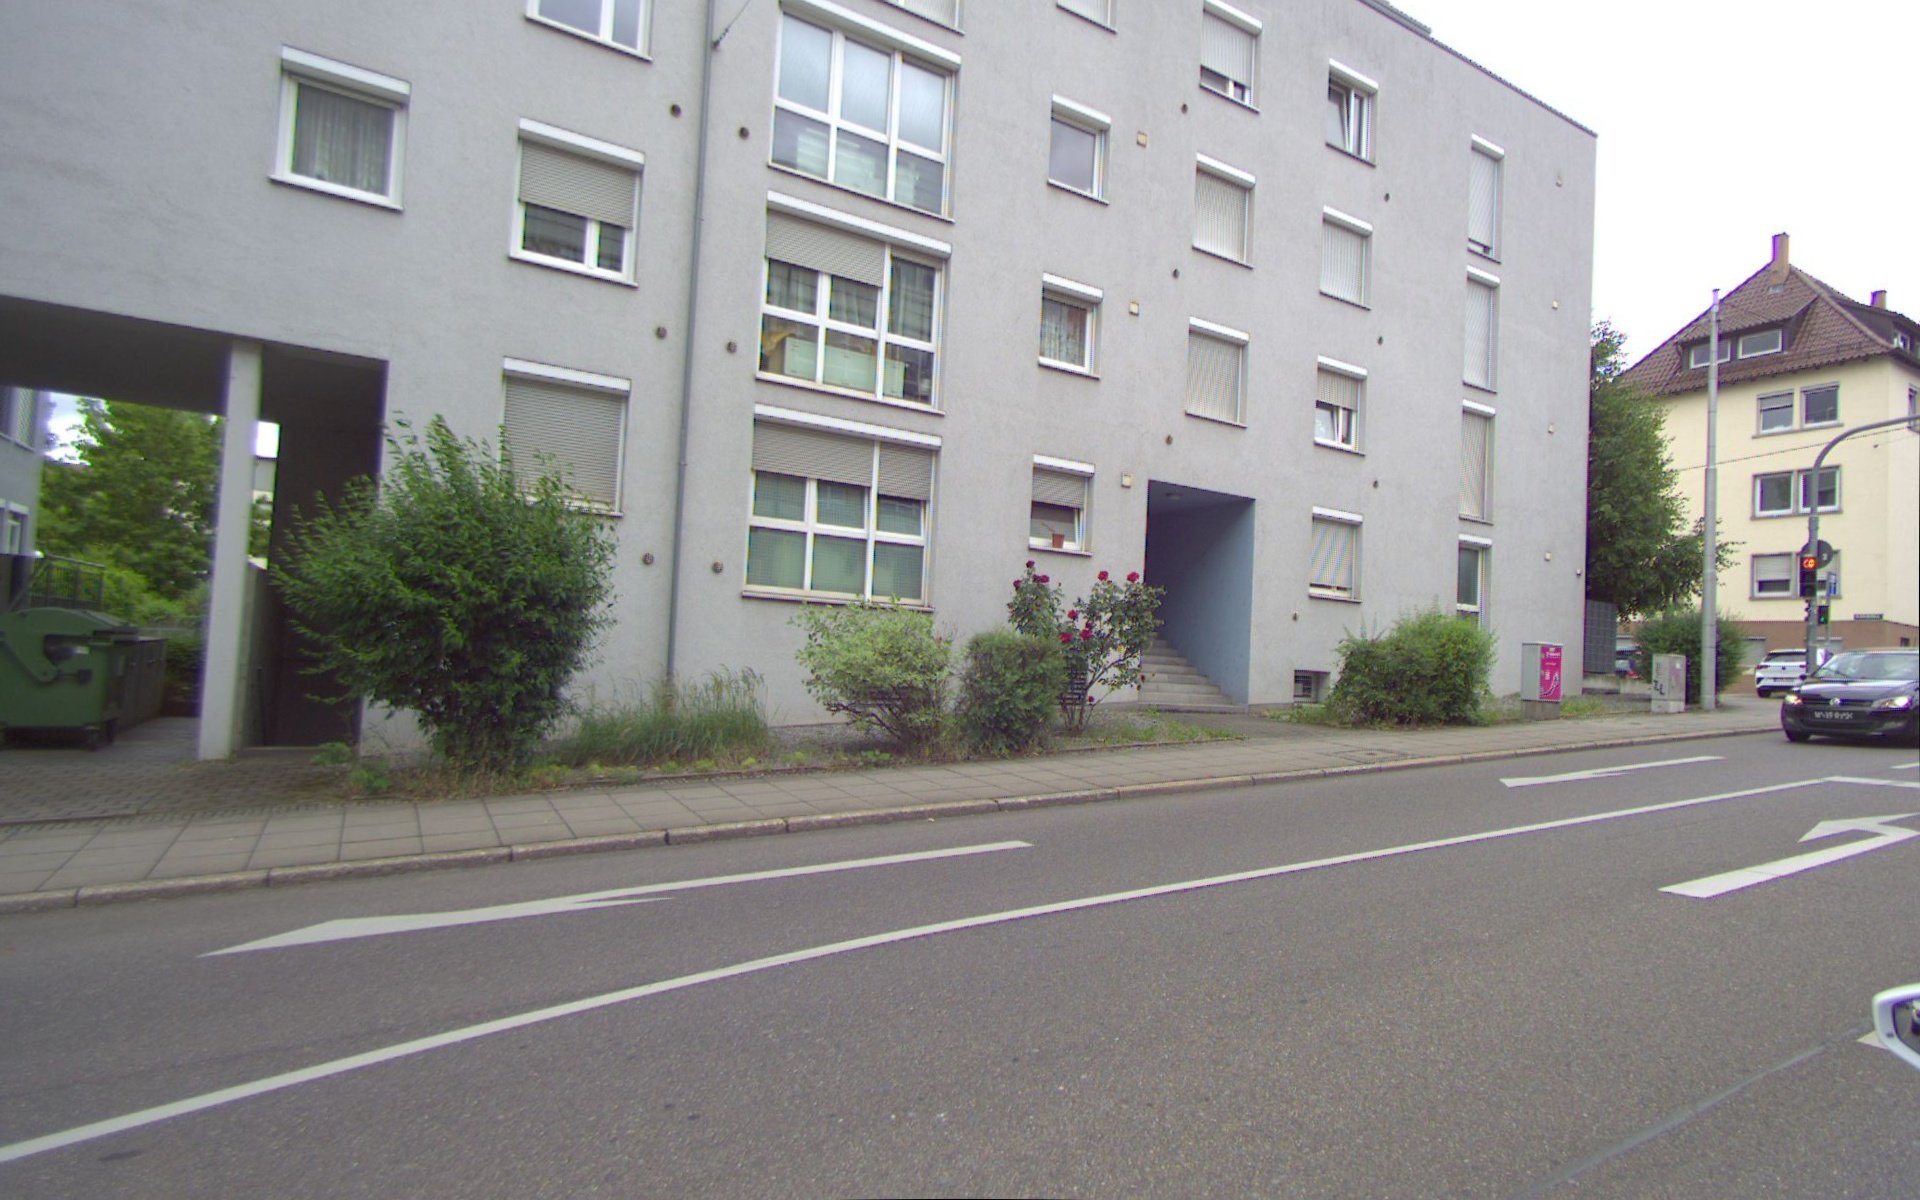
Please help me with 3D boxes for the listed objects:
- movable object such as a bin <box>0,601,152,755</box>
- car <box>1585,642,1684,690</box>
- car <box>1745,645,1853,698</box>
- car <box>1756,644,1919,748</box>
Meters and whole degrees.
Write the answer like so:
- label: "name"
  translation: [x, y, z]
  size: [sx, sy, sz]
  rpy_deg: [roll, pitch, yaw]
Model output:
- label: "movable object such as a bin"
  translation: [-9.560, 0.818, 10.690]
  size: [1.177, 1.497, 1.139]
  rpy_deg: [6, -4, -29]
- label: "car"
  translation: [24.663, 2.391, 36.702]
  size: [3.727, 1.629, 1.681]
  rpy_deg: [1, -4, -34]
- label: "car"
  translation: [27.128, 2.280, 32.445]
  size: [3.727, 1.575, 1.681]
  rpy_deg: [1, -4, -34]
- label: "car"
  translation: [14.119, 1.403, 15.463]
  size: [3.750, 1.418, 1.665]
  rpy_deg: [1, -4, -31]
